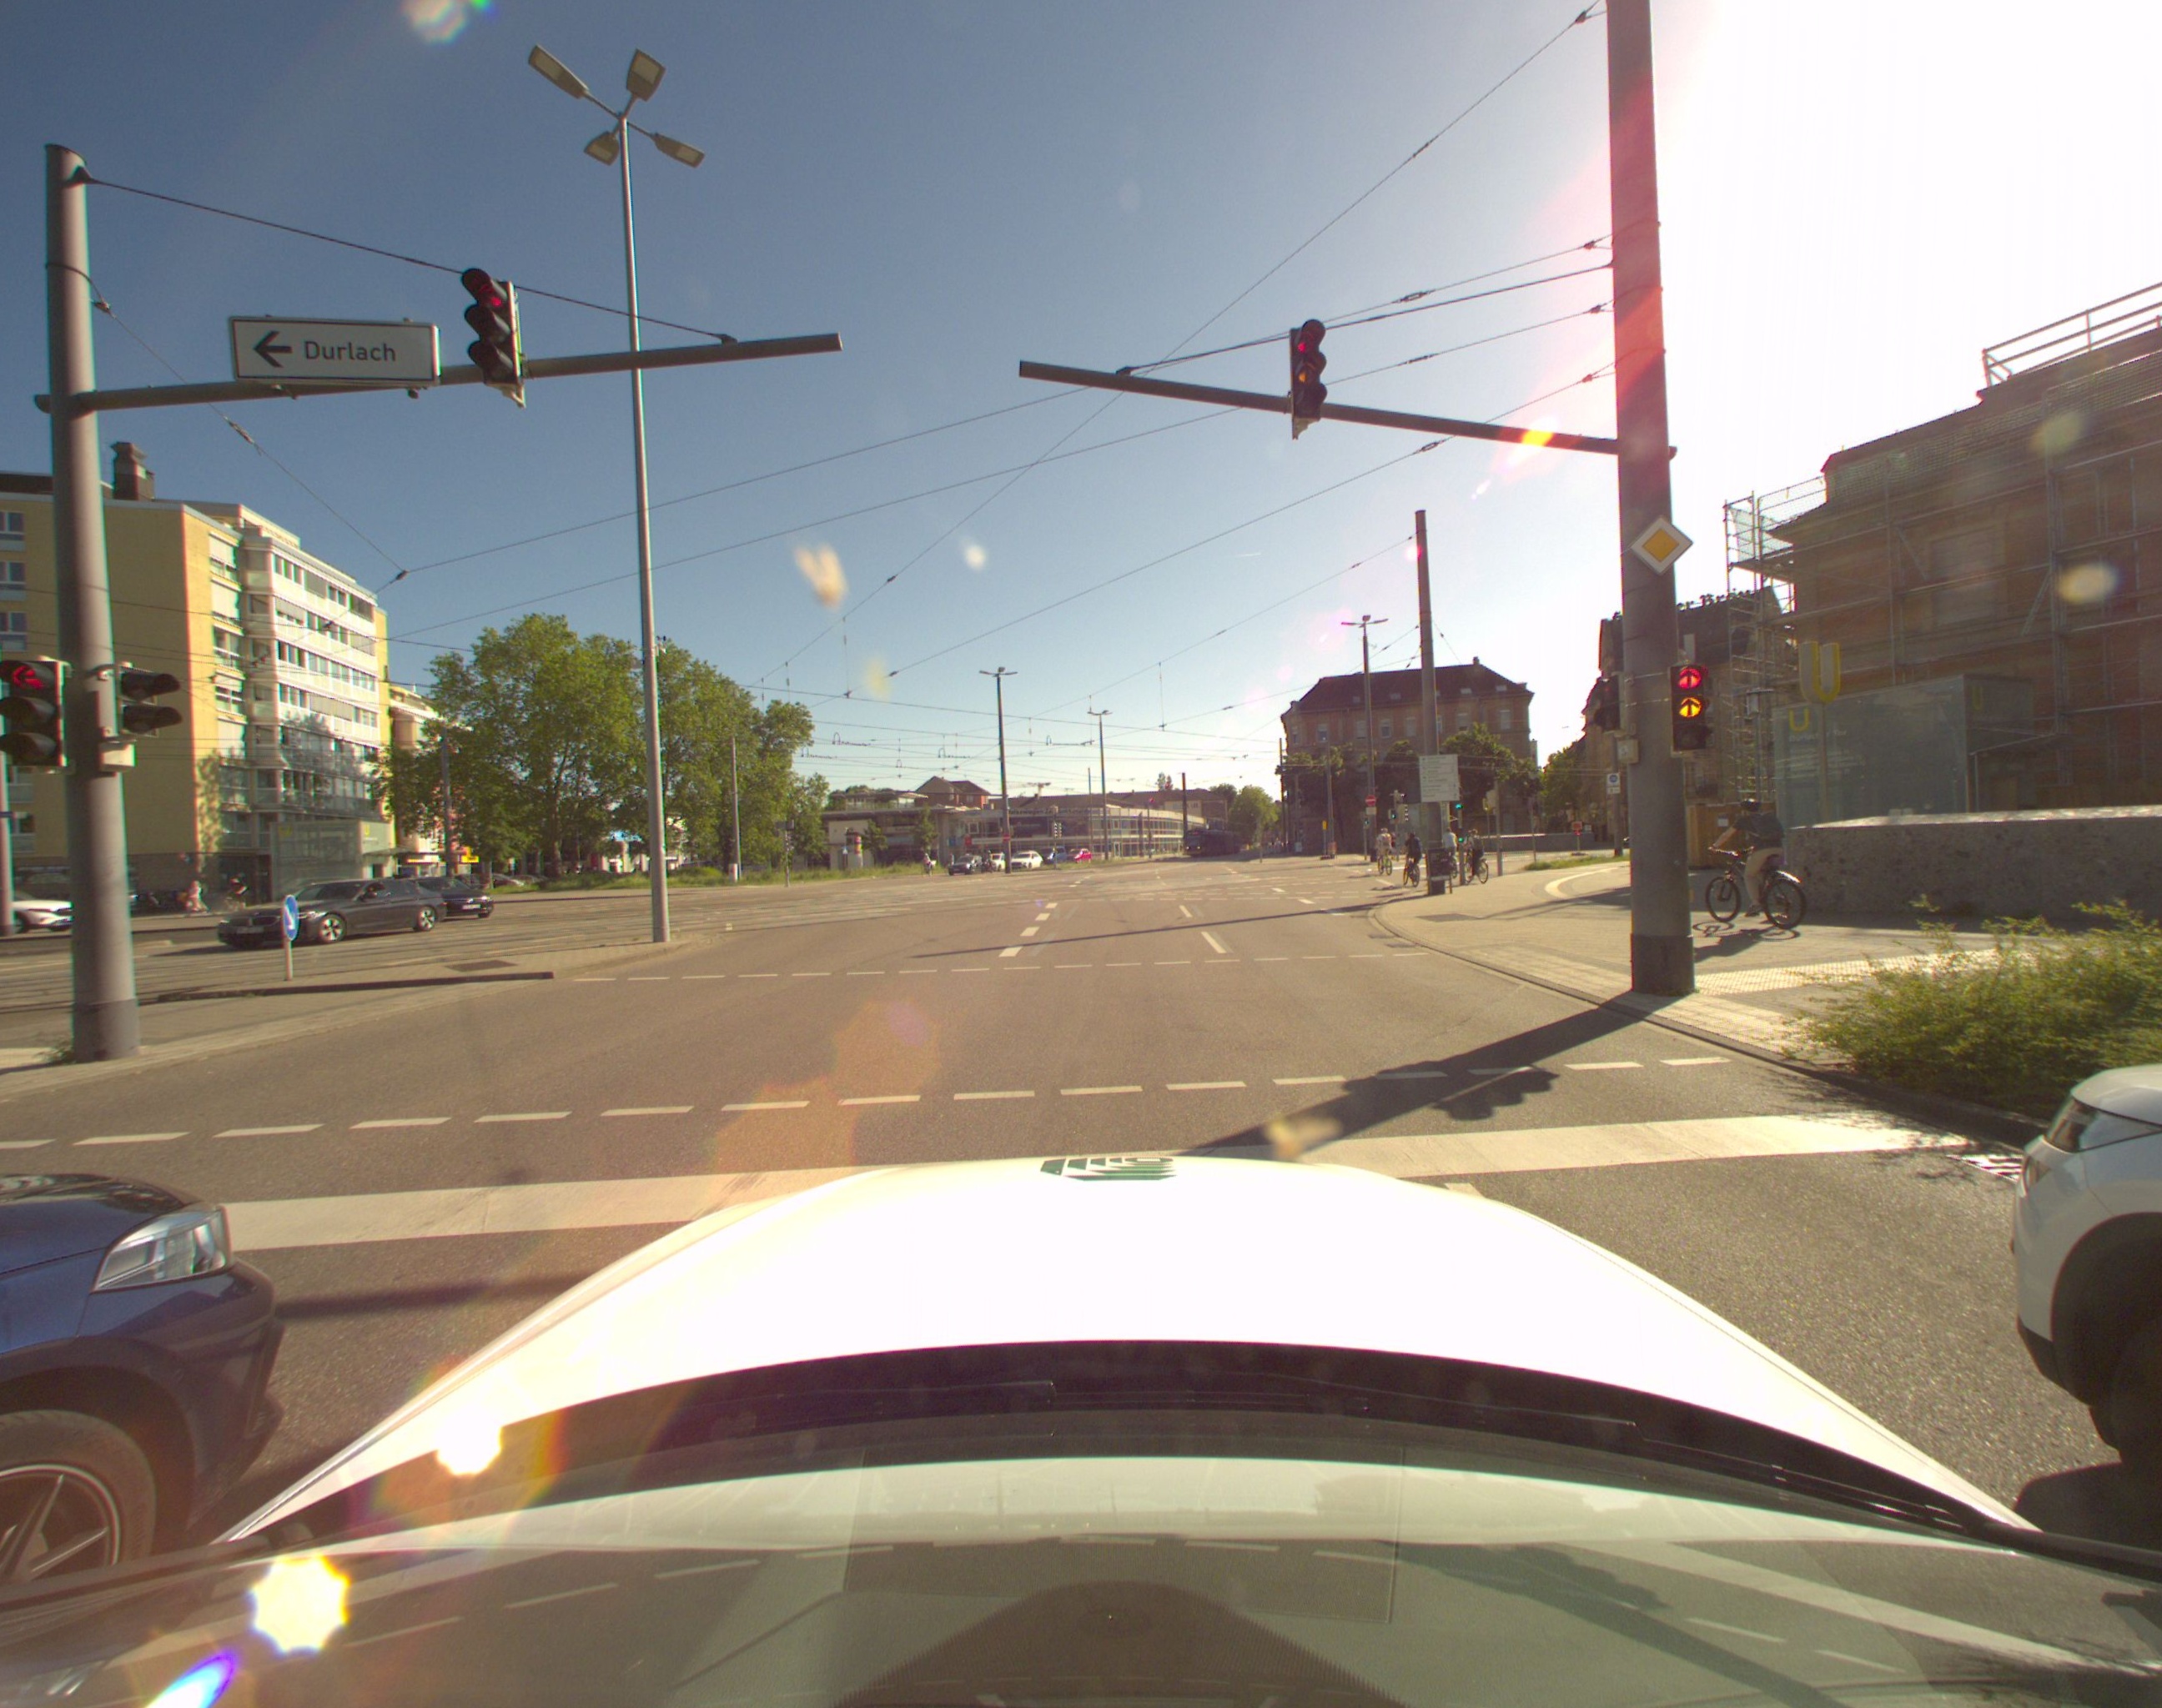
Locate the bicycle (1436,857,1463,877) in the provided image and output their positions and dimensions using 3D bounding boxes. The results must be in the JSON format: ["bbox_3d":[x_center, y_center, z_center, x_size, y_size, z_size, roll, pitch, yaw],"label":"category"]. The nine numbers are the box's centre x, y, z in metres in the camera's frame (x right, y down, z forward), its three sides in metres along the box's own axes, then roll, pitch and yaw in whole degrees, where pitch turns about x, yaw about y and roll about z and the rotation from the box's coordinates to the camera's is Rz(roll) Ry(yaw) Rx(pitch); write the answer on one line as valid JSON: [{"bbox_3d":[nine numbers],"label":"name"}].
[{"bbox_3d":[13.699,0.470,30.287,0.534,0.655,1.471,-3,0,9],"label":"bicycle"}]

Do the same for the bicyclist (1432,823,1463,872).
[{"bbox_3d":[13.676,-0.239,30.410,0.742,1.778,0.926,-3,0,9],"label":"bicyclist"}]

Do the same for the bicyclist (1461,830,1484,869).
[{"bbox_3d":[16.205,-0.193,33.717,0.567,1.568,0.951,-4,-1,16],"label":"bicyclist"}]

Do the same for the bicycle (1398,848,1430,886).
[{"bbox_3d":[10.893,0.405,26.678,0.621,1.113,1.857,-2,1,12],"label":"bicycle"}]

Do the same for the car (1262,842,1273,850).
[{"bbox_3d":[35.414,-1.538,154.580,1.686,1.503,4.284,-2,0,17],"label":"car"}]

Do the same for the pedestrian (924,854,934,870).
[{"bbox_3d":[-11.585,0.618,61.986,0.419,1.204,0.684,-2,0,25],"label":"pedestrian"}]

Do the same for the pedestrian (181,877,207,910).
[{"bbox_3d":[-43.218,1.919,39.684,0.719,1.560,0.551,-2,0,-37],"label":"pedestrian"}]

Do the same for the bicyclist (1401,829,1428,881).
[{"bbox_3d":[10.836,0.007,26.494,0.621,1.637,0.998,-2,1,12],"label":"bicyclist"}]

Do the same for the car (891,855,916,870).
[{"bbox_3d":[-21.871,1.071,100.591,1.958,1.706,4.085,-2,0,2],"label":"car"}]

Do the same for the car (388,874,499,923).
[{"bbox_3d":[-21.218,1.460,27.064,4.122,1.438,1.739,-2,0,35],"label":"car"}]

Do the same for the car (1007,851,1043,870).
[{"bbox_3d":[-4.475,0.509,65.220,1.613,1.382,3.754,-2,0,17],"label":"car"}]

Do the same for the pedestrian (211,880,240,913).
[{"bbox_3d":[-42.136,2.109,40.137,0.769,1.560,0.610,-2,0,-26],"label":"pedestrian"}]

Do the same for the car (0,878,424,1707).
[{"bbox_3d":[-2.672,0.797,0.151,1.704,1.445,4.034,-1,0,2],"label":"car"}]

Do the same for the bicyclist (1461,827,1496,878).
[{"bbox_3d":[12.680,-0.050,26.005,0.681,1.598,0.979,-2,0,7],"label":"bicyclist"}]

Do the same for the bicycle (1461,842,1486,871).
[{"bbox_3d":[16.249,0.078,33.762,0.567,1.125,1.747,-4,0,16],"label":"bicycle"}]

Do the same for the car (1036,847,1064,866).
[{"bbox_3d":[-2.994,0.236,79.213,1.613,1.692,3.702,-2,0,17],"label":"car"}]

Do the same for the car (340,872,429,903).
[{"bbox_3d":[-42.855,2.054,50.192,3.742,1.662,1.585,-2,0,-18],"label":"car"}]

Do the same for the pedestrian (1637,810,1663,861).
[{"bbox_3d":[21.679,-0.707,31.045,0.692,1.881,0.725,-2,0,32],"label":"pedestrian"}]

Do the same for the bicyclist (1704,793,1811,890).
[{"bbox_3d":[9.706,-0.176,11.716,0.717,1.279,0.908,-4,0,1],"label":"bicyclist"}]

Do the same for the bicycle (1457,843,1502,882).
[{"bbox_3d":[12.669,0.259,25.949,0.681,1.163,1.887,-2,0,7],"label":"bicycle"}]

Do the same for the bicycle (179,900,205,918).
[{"bbox_3d":[-43.129,2.668,39.527,0.489,0.812,1.595,-2,0,-35],"label":"bicycle"}]

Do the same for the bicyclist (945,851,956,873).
[{"bbox_3d":[-10.263,0.633,64.036,0.564,1.713,0.651,-2,0,14],"label":"bicyclist"}]

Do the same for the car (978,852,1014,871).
[{"bbox_3d":[-6.980,0.569,67.163,1.613,1.424,3.702,-2,0,17],"label":"car"}]

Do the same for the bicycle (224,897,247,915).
[{"bbox_3d":[-41.776,2.551,40.246,0.462,0.780,1.789,-2,0,-35],"label":"bicycle"}]

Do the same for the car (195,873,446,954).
[{"bbox_3d":[-17.745,1.291,19.400,1.855,1.501,4.561,-2,0,-4],"label":"car"}]

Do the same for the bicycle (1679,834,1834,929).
[{"bbox_3d":[9.681,0.367,11.776,0.687,1.218,1.836,-4,0,2],"label":"bicycle"}]

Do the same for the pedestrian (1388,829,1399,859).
[{"bbox_3d":[21.630,-0.695,56.320,0.461,2.013,0.449,-3,0,-16],"label":"pedestrian"}]

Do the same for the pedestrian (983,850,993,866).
[{"bbox_3d":[-6.938,0.299,60.726,0.419,1.204,0.753,-2,0,19],"label":"pedestrian"}]

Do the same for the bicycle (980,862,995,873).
[{"bbox_3d":[-6.980,1.004,60.579,0.419,0.718,1.642,-2,0,19],"label":"bicycle"}]

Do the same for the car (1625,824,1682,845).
[{"bbox_3d":[46.907,-1.605,66.680,4.330,1.563,1.786,-2,0,-24],"label":"car"}]

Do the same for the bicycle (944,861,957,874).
[{"bbox_3d":[-10.251,1.040,64.069,0.464,0.926,1.481,-2,0,15],"label":"bicycle"}]

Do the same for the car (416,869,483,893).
[{"bbox_3d":[-49.816,2.147,64.321,3.742,1.662,1.585,-2,0,-18],"label":"car"}]

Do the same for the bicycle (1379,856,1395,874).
[{"bbox_3d":[12.355,0.446,32.877,0.532,0.655,1.735,-3,0,21],"label":"bicycle"}]

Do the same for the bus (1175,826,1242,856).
[{"bbox_3d":[17.752,-1.586,110.545,3.804,3.607,24.994,-1,0,21],"label":"bus"}]

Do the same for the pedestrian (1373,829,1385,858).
[{"bbox_3d":[21.062,-0.717,57.572,0.574,2.013,0.449,-3,0,-16],"label":"pedestrian"}]

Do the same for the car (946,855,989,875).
[{"bbox_3d":[-8.501,0.784,61.240,1.689,1.354,3.719,-2,0,19],"label":"car"}]

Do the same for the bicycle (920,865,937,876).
[{"bbox_3d":[-11.589,1.264,61.915,0.419,0.718,1.484,-2,0,25],"label":"bicycle"}]

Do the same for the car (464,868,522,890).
[{"bbox_3d":[-51.391,2.175,71.245,3.742,1.662,1.585,-2,0,-18],"label":"car"}]

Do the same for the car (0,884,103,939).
[{"bbox_3d":[-36.136,1.972,27.038,4.304,1.653,1.848,-2,0,-17],"label":"car"}]

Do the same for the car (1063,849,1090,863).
[{"bbox_3d":[-0.442,0.243,86.284,1.613,1.364,3.703,-2,0,18],"label":"car"}]

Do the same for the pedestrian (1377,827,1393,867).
[{"bbox_3d":[12.276,-0.279,32.872,0.543,1.562,0.863,-2,0,22],"label":"pedestrian"}]
